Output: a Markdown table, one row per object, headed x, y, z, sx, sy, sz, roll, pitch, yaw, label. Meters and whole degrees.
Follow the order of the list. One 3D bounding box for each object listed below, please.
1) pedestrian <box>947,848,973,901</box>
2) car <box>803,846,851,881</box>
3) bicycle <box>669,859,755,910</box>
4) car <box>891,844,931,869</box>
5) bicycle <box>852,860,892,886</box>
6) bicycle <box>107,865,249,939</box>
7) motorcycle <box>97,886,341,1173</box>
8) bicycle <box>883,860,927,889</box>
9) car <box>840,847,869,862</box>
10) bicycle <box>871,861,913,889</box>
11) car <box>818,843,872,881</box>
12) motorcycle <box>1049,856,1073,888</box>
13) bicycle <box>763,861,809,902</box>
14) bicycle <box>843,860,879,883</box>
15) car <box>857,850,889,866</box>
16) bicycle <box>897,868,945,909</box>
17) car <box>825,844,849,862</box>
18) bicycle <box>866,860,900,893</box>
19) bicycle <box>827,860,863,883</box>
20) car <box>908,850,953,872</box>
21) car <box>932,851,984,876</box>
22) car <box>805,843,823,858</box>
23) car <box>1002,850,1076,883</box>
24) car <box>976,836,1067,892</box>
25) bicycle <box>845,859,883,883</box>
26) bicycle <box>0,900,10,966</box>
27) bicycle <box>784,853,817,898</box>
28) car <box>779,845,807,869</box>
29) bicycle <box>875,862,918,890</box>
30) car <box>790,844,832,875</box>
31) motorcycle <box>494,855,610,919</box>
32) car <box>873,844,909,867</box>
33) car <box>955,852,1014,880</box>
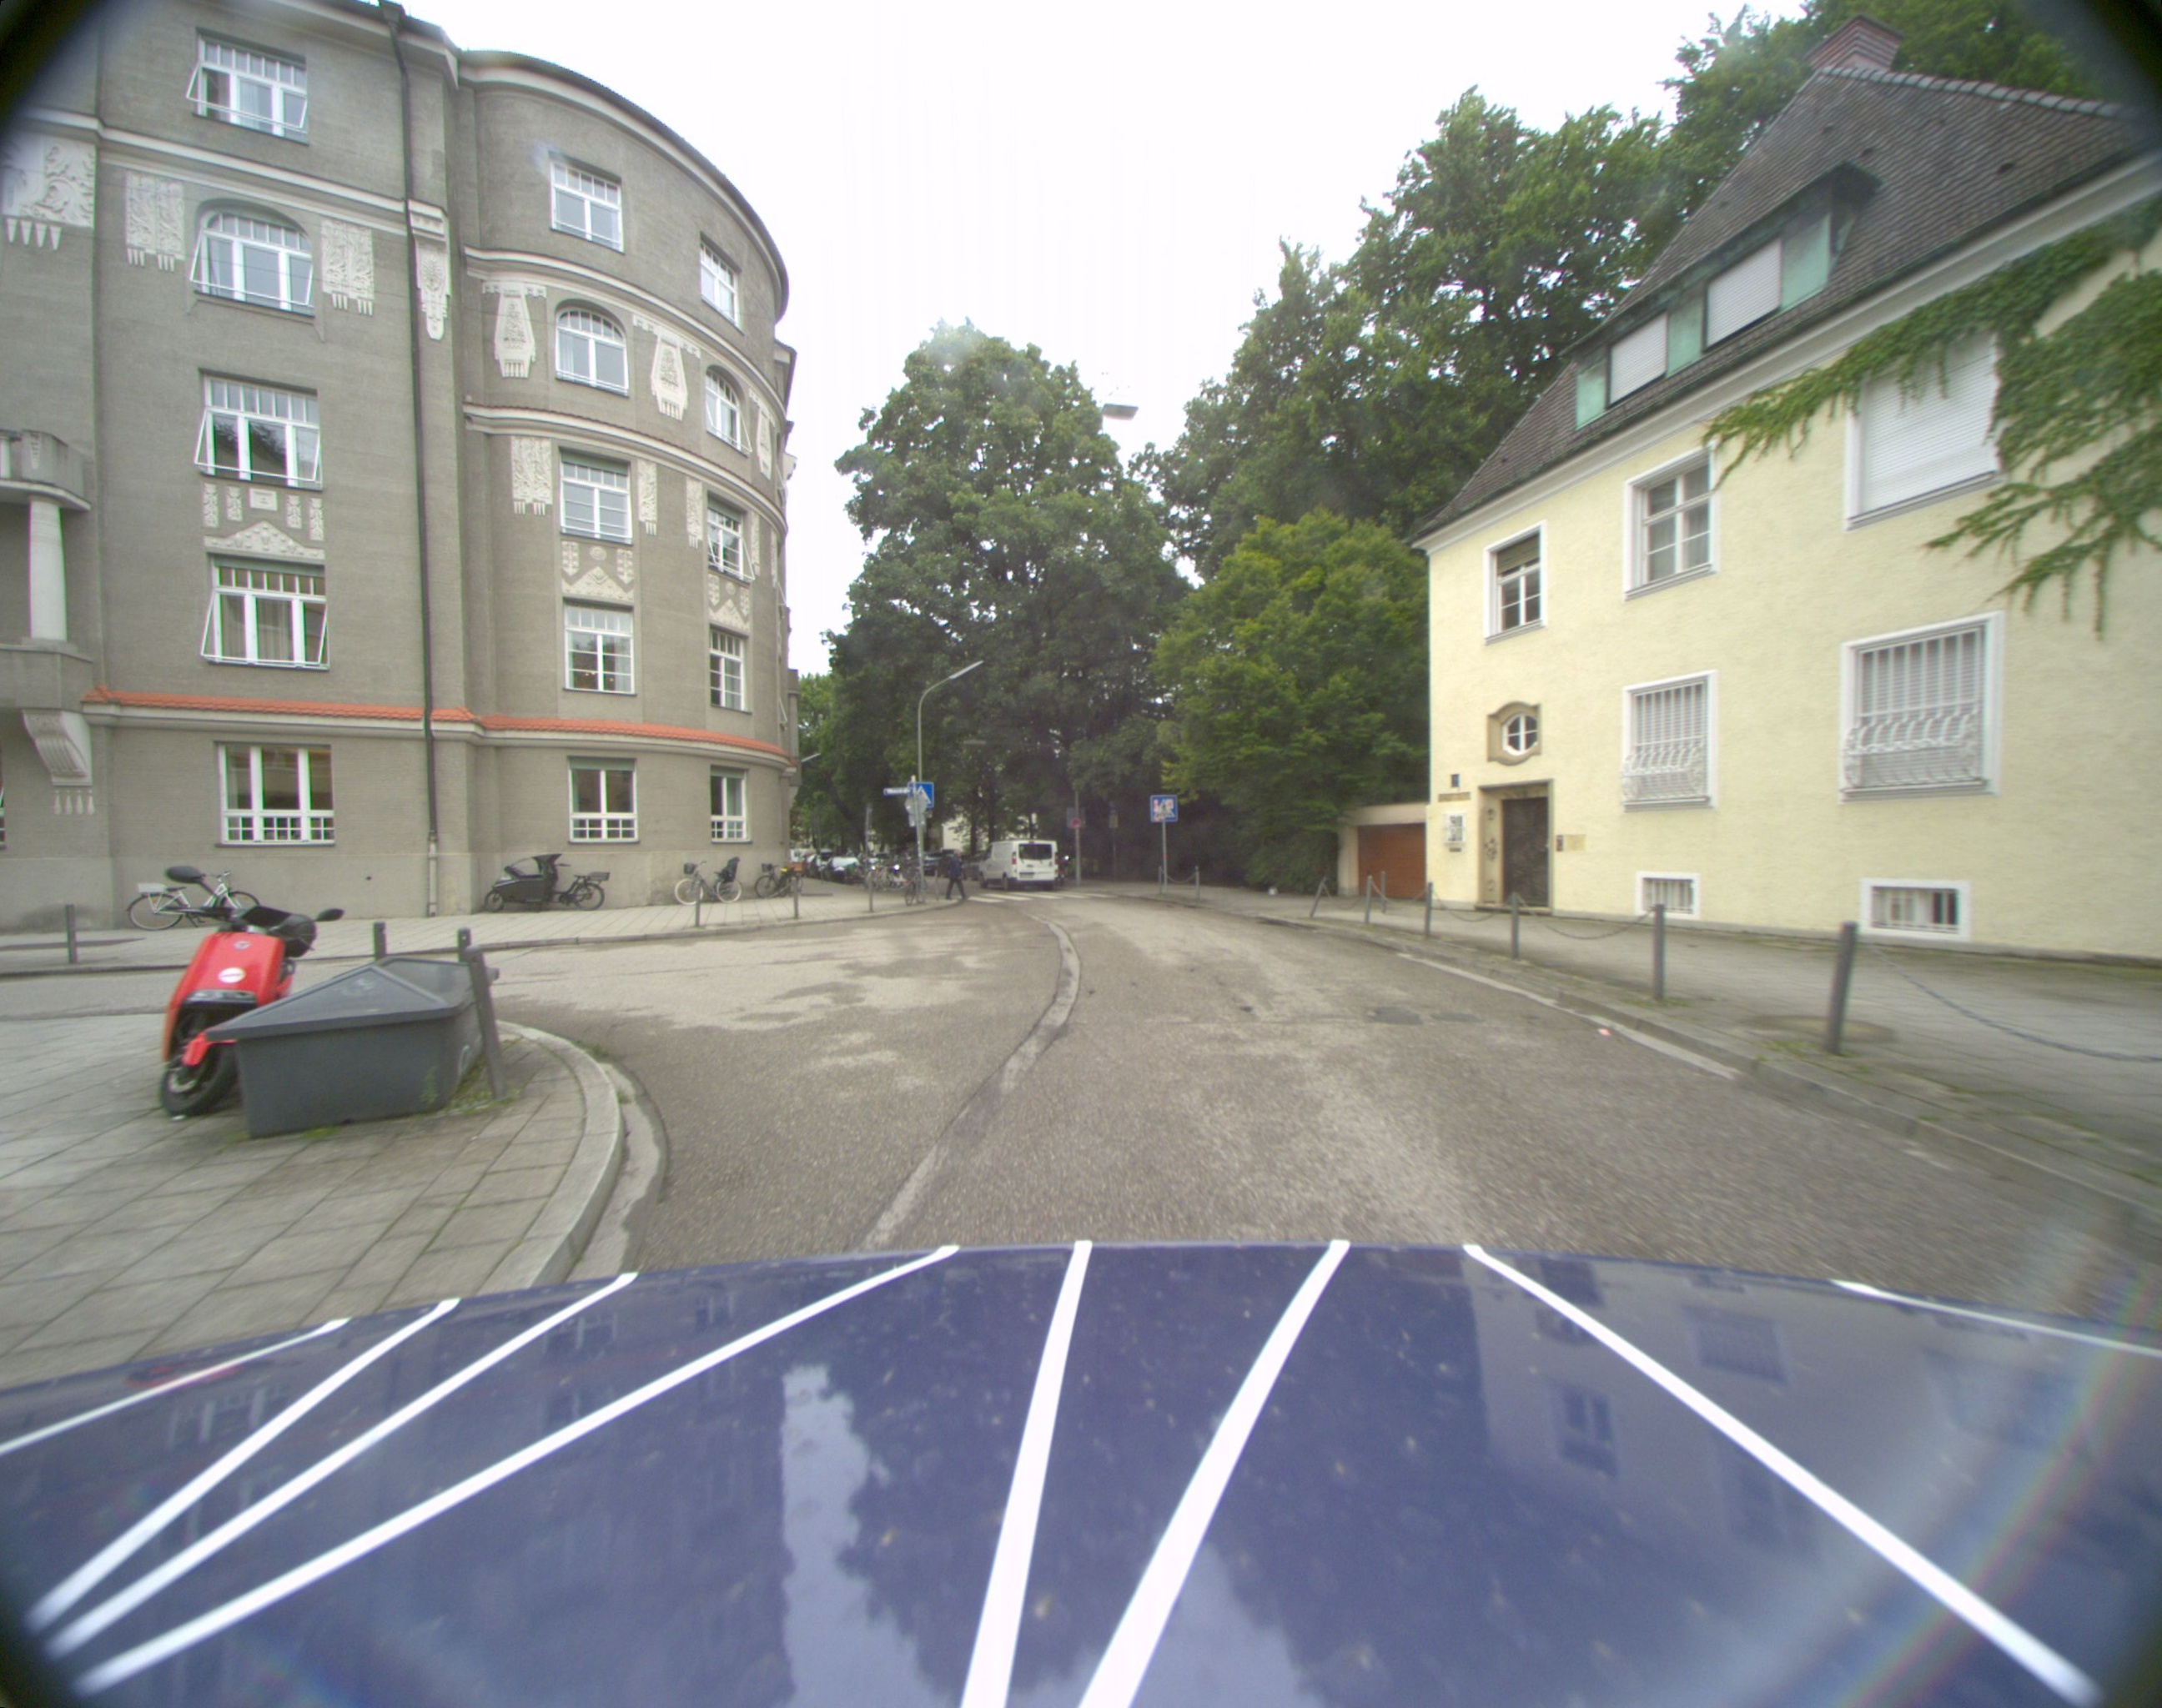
| x | y | z | sx | sy | sz | roll | pitch | yaw | label |
| --- | --- | --- | --- | --- | --- | --- | --- | --- | --- |
| -3.861 | 0.646 | 24.132 | 0.727 | 1.632 | 0.812 | -1 | 2 | -14 | pedestrian |
| -15.576 | 0.517 | 46.413 | 2.003 | 1.941 | 4.649 | -1 | 2 | -28 | car |
| -9.941 | 0.787 | 20.531 | 0.736 | 1.249 | 1.930 | 1 | 2 | 35 | bicycle |
| -12.701 | 0.148 | 56.538 | 1.780 | 1.808 | 4.506 | -1 | 1 | -28 | car |
| -9.612 | 0.867 | 34.993 | 1.684 | 1.141 | 0.511 | -1 | 2 | -9 | bicycle |
| -17.965 | 0.927 | 15.170 | 1.678 | 1.342 | 0.619 | -1 | 2 | -29 | bicycle |
| -5.291 | 0.908 | 4.742 | 2.079 | 1.348 | 0.819 | -1 | 1 | 43 | motorcycle |
| -7.205 | 0.841 | 31.087 | 1.708 | 1.141 | 0.511 | -1 | 2 | -9 | bicycle |
| -22.176 | 0.040 | 74.295 | 1.780 | 1.424 | 4.506 | -1 | 1 | -28 | car |
| -8.189 | 0.904 | 32.951 | 1.684 | 1.141 | 0.511 | -1 | 2 | -9 | bicycle |
| -13.095 | 0.399 | 41.974 | 2.003 | 1.941 | 4.649 | -1 | 2 | -28 | car |
| -0.830 | 0.720 | 31.596 | 0.859 | 1.177 | 2.005 | -4 | 1 | 0 | motorcycle |
| -9.047 | 0.816 | 23.359 | 0.564 | 1.150 | 1.926 | 3 | 1 | 3 | bicycle |
| -11.080 | 0.876 | 38.241 | 1.684 | 1.141 | 0.511 | -1 | 2 | -9 | bicycle |
| -18.515 | 0.335 | 67.525 | 1.780 | 1.424 | 4.506 | -1 | 1 | -28 | car |
| -4.436 | 0.928 | 21.197 | 0.511 | 1.004 | 2.009 | 0 | 1 | 12 | bicycle |
| -27.172 | -0.149 | 84.437 | 2.002 | 1.941 | 4.650 | -1 | 2 | -24 | car |
| -7.409 | 0.818 | 28.457 | 0.511 | 1.140 | 1.685 | 0 | 2 | 12 | bicycle |
| -12.088 | 0.905 | 38.974 | 1.684 | 1.141 | 0.511 | -1 | 2 | -9 | bicycle |
| -10.285 | 0.463 | 51.766 | 1.780 | 1.424 | 4.506 | -1 | 1 | -28 | car |
| -7.666 | 0.553 | 46.948 | 1.780 | 1.424 | 4.506 | -1 | 1 | -28 | car |
| -36.871 | -0.541 | 104.884 | 2.002 | 1.941 | 4.650 | -1 | 2 | -24 | car |
| -2.063 | 0.548 | 35.860 | 1.627 | 1.440 | 4.424 | -2 | 1 | -30 | car |
| -2.497 | 0.355 | 30.331 | 2.049 | 2.030 | 4.947 | -1 | 1 | -24 | car |
| -10.646 | 0.830 | 37.310 | 1.684 | 1.141 | 0.511 | -1 | 2 | -9 | bicycle |
| -16.679 | 1.254 | 10.976 | 0.541 | 1.009 | 1.804 | -1 | 2 | -25 | bicycle |
| -9.334 | 0.678 | 25.366 | 0.738 | 1.405 | 1.924 | -1 | 2 | -12 | bicycle |
| -25.020 | 0.240 | 65.963 | 2.002 | 1.941 | 4.650 | -1 | 2 | -24 | car |
| -7.680 | 0.902 | 31.604 | 1.684 | 1.141 | 0.465 | -1 | 2 | -9 | bicycle |
| -18.376 | 0.308 | 51.561 | 2.003 | 1.941 | 4.649 | -1 | 2 | -28 | car |
| -12.607 | 0.754 | 18.189 | 2.149 | 1.432 | 0.736 | -1 | 2 | -26 | motorcycle |
| -15.399 | 0.095 | 61.379 | 1.780 | 1.825 | 4.506 | -1 | 1 | -28 | car |
| -5.482 | 0.634 | 42.669 | 1.780 | 1.424 | 4.506 | -1 | 1 | -28 | car |
